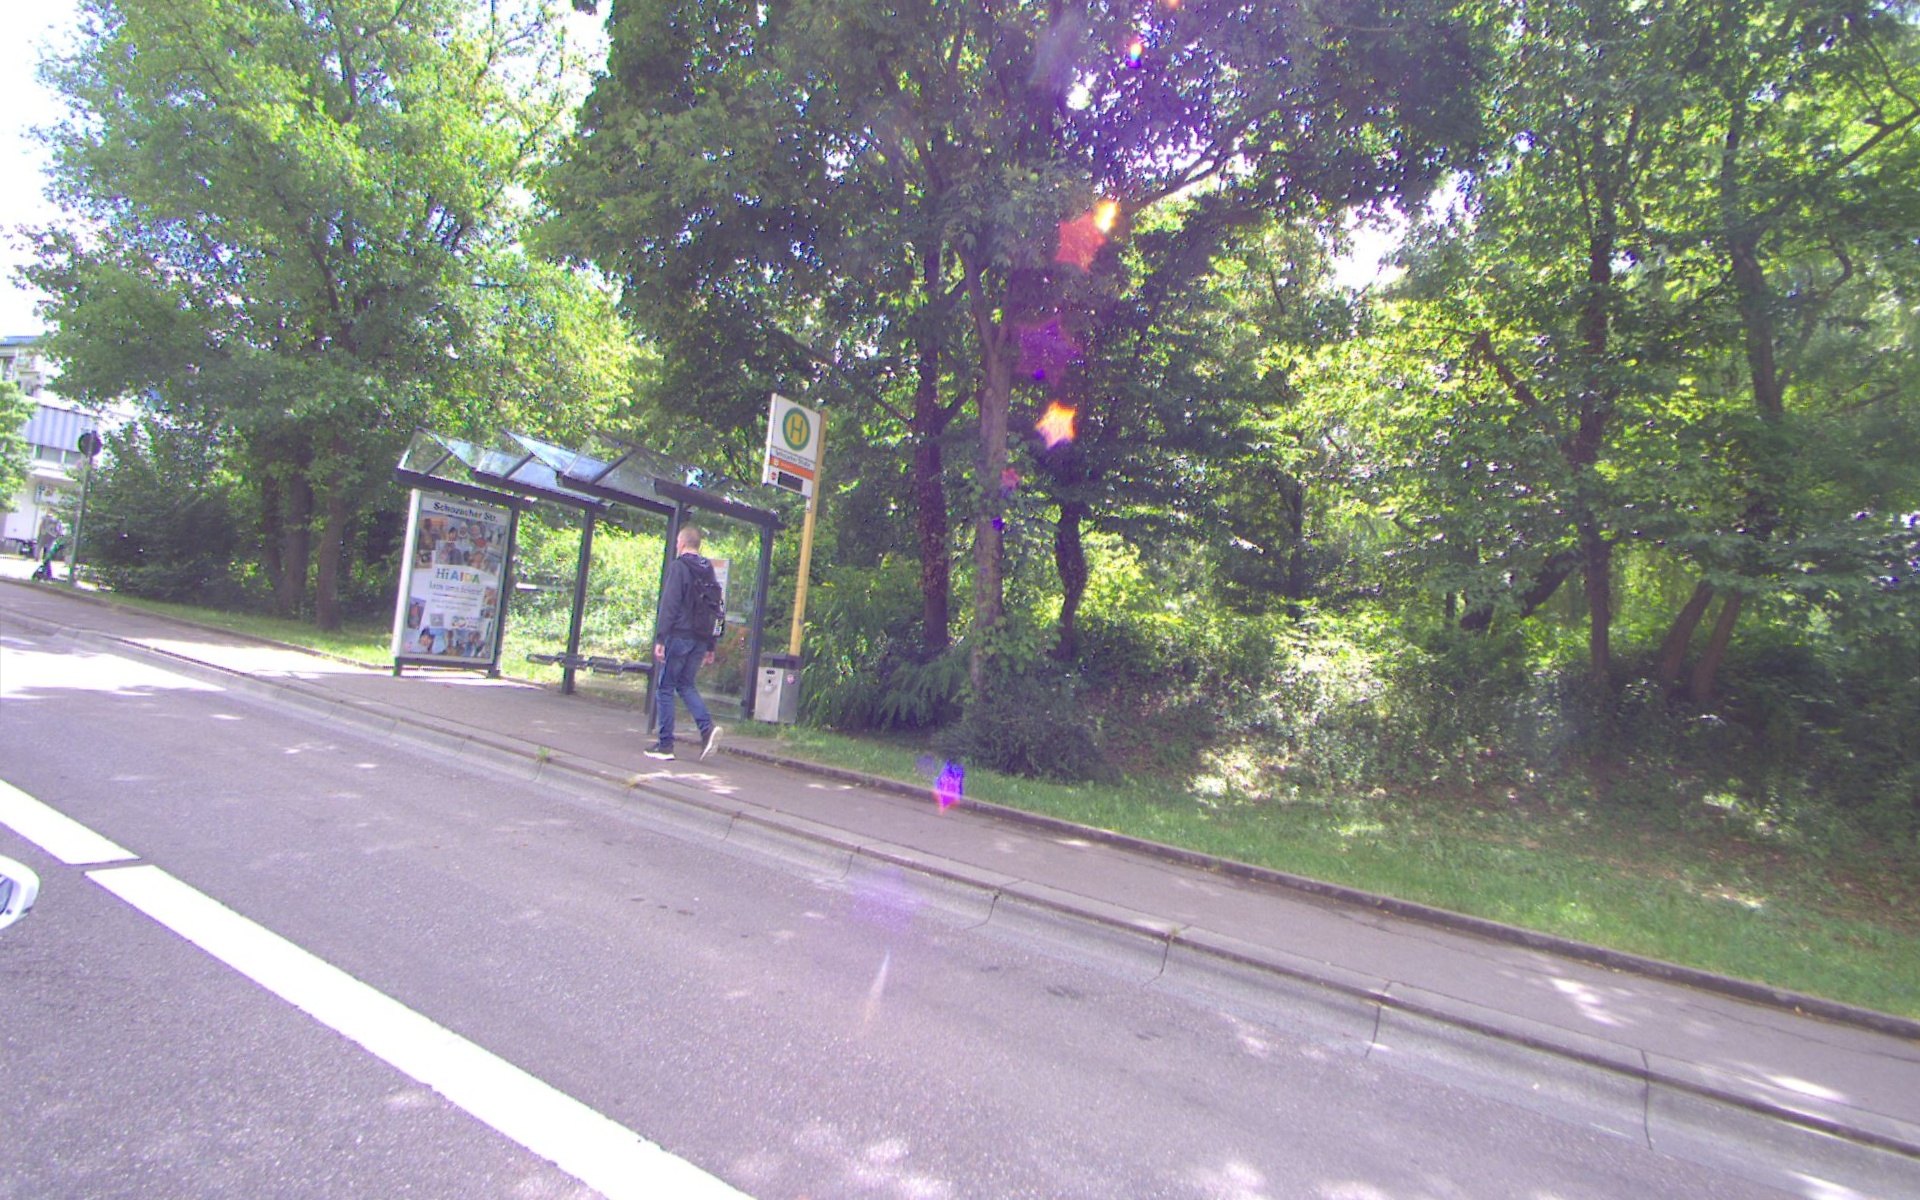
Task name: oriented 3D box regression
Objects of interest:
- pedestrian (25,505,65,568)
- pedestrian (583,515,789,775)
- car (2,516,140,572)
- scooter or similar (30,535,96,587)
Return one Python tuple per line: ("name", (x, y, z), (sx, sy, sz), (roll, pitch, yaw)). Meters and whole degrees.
("pedestrian", (-28.148, -1.938, 30.956), (0.611, 1.808, 0.562), (12, -5, -40))
("pedestrian", (-2.249, 0.346, 8.244), (1.250, 1.918, 0.802), (6, 0, 33))
("car", (-34.942, -2.170, 39.638), (1.679, 1.619, 3.592), (6, -2, 20))
("scooter or similar", (-21.710, -0.936, 24.373), (0.325, 1.112, 1.153), (7, -2, 9))
